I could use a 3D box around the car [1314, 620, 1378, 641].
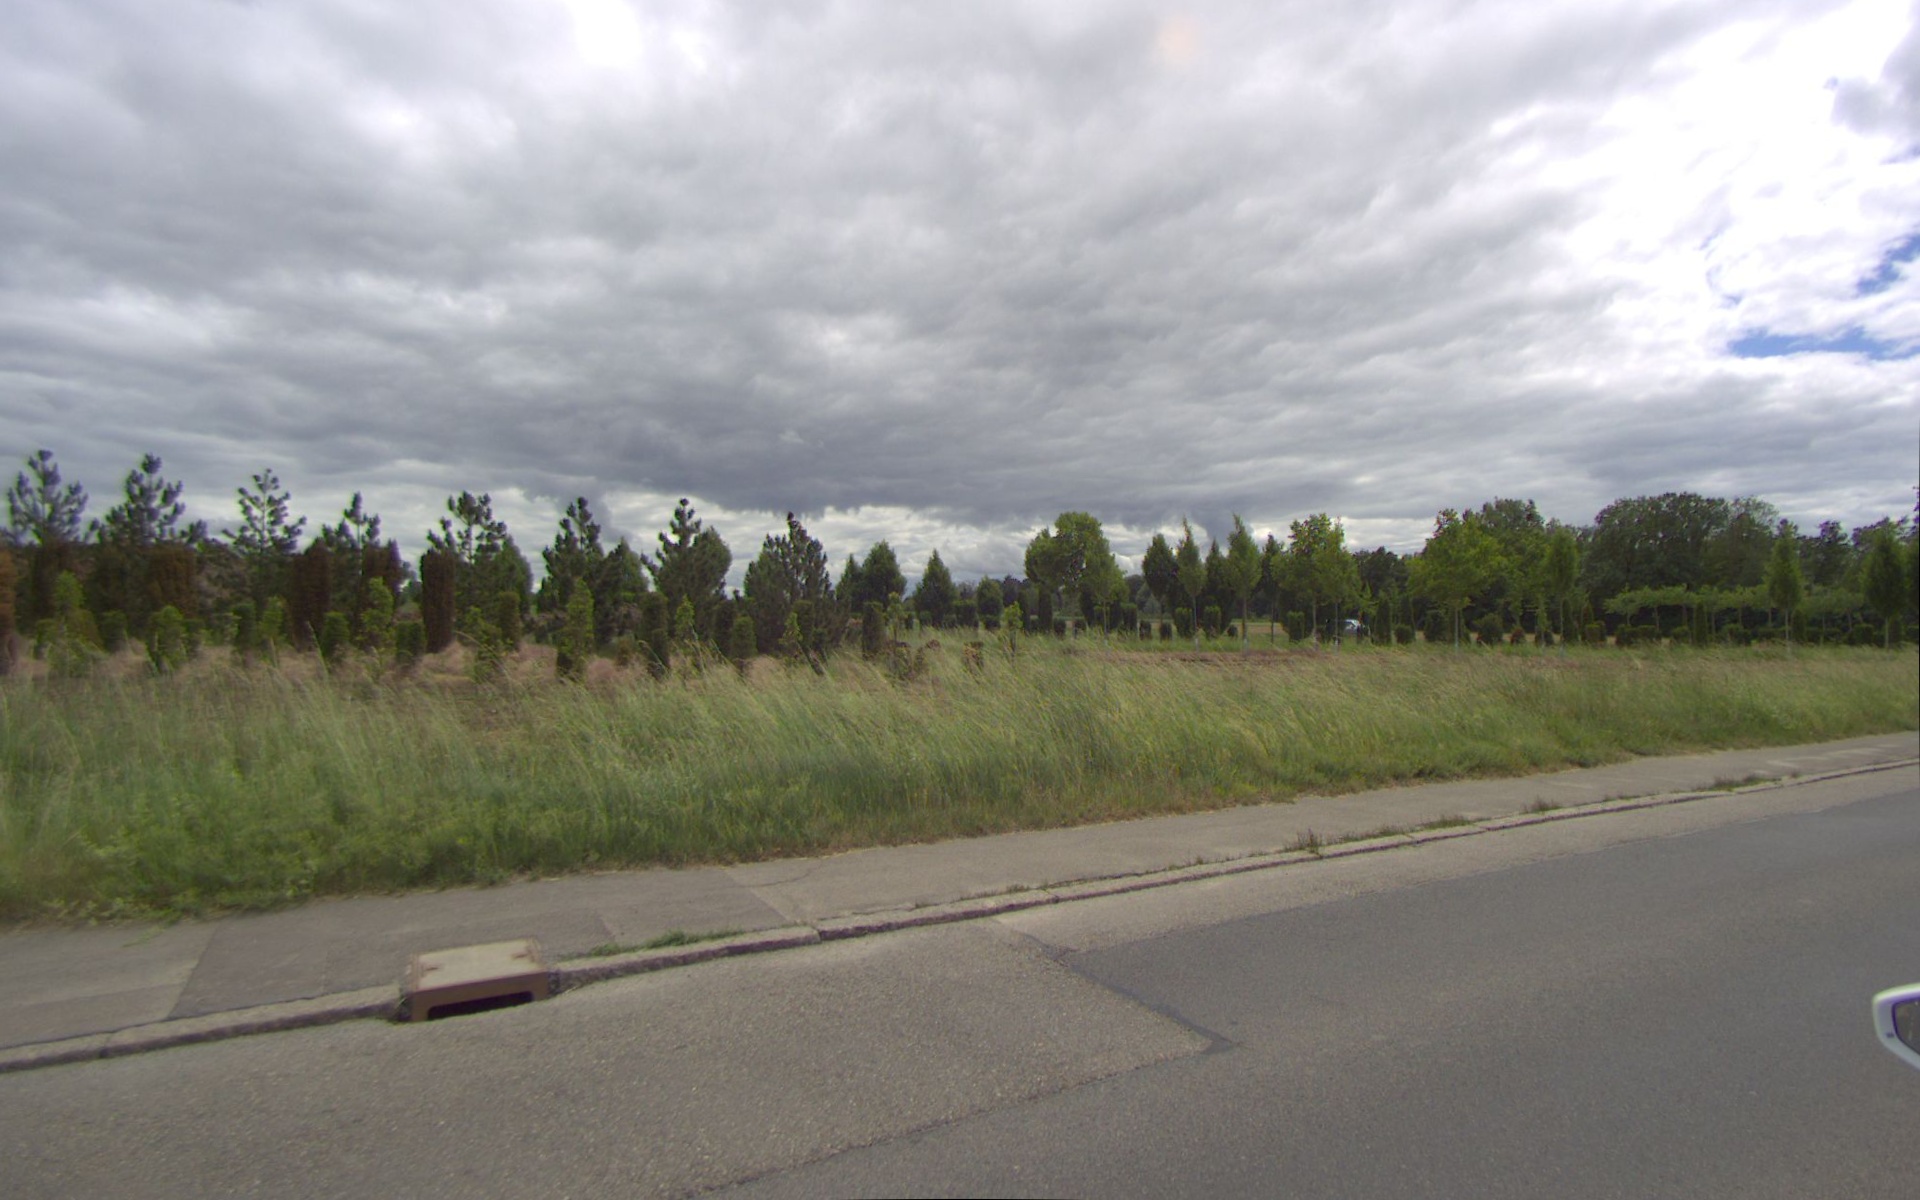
[{"bbox_3d":[28.050,2.213,73.022,3.945,1.473,1.964,-1,-2,44],"label":"car"}]
